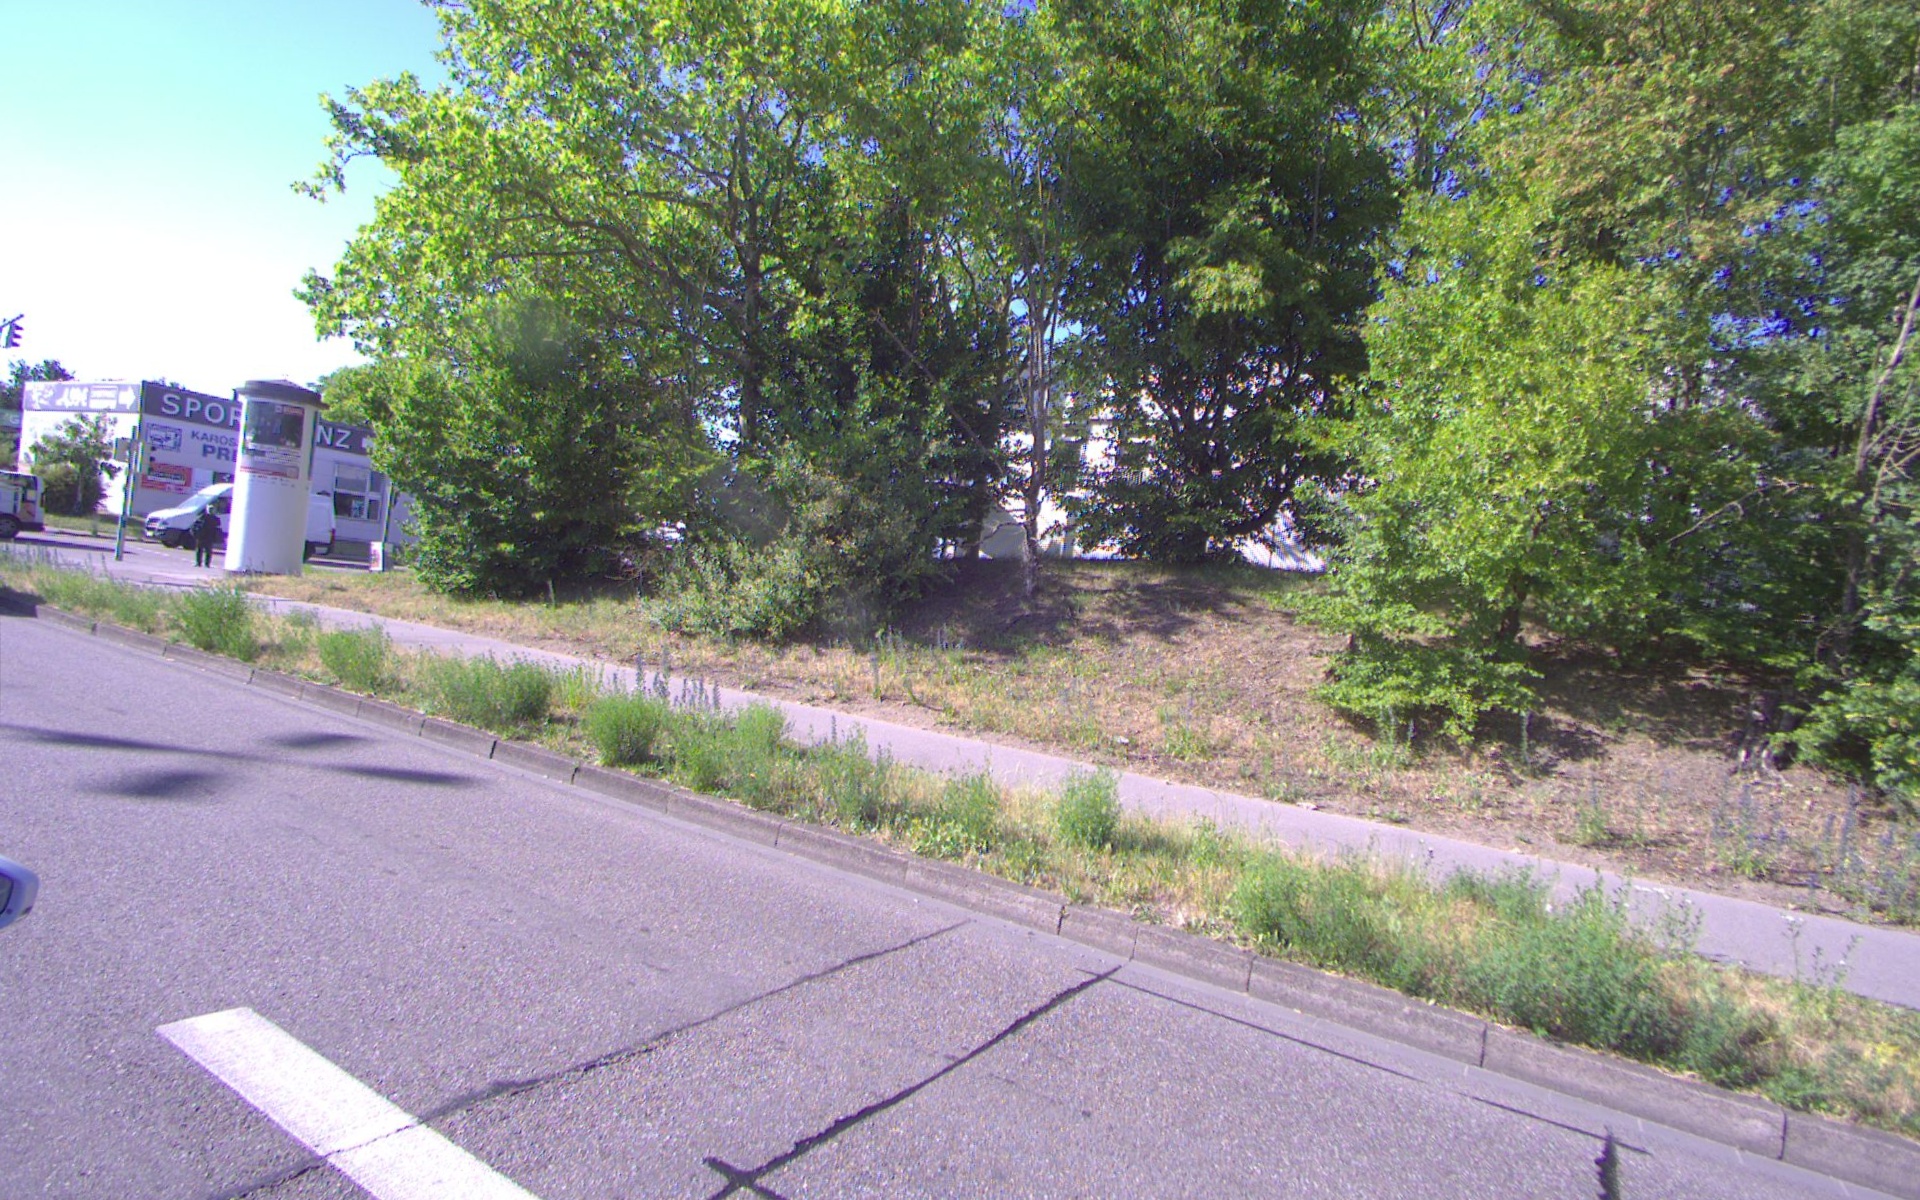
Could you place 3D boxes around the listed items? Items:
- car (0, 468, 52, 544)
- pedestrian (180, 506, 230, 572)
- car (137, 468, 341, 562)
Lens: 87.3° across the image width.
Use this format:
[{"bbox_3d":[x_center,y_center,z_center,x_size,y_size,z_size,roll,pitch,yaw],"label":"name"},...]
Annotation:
[{"bbox_3d":[-29.432,-2.978,28.596,1.849,2.060,4.962,7,-1,30],"label":"car"},{"bbox_3d":[-20.993,-1.690,27.964,0.506,1.688,0.818,6,-1,31],"label":"pedestrian"},{"bbox_3d":[-27.118,-3.133,38.109,1.967,2.706,5.840,6,0,32],"label":"car"}]
